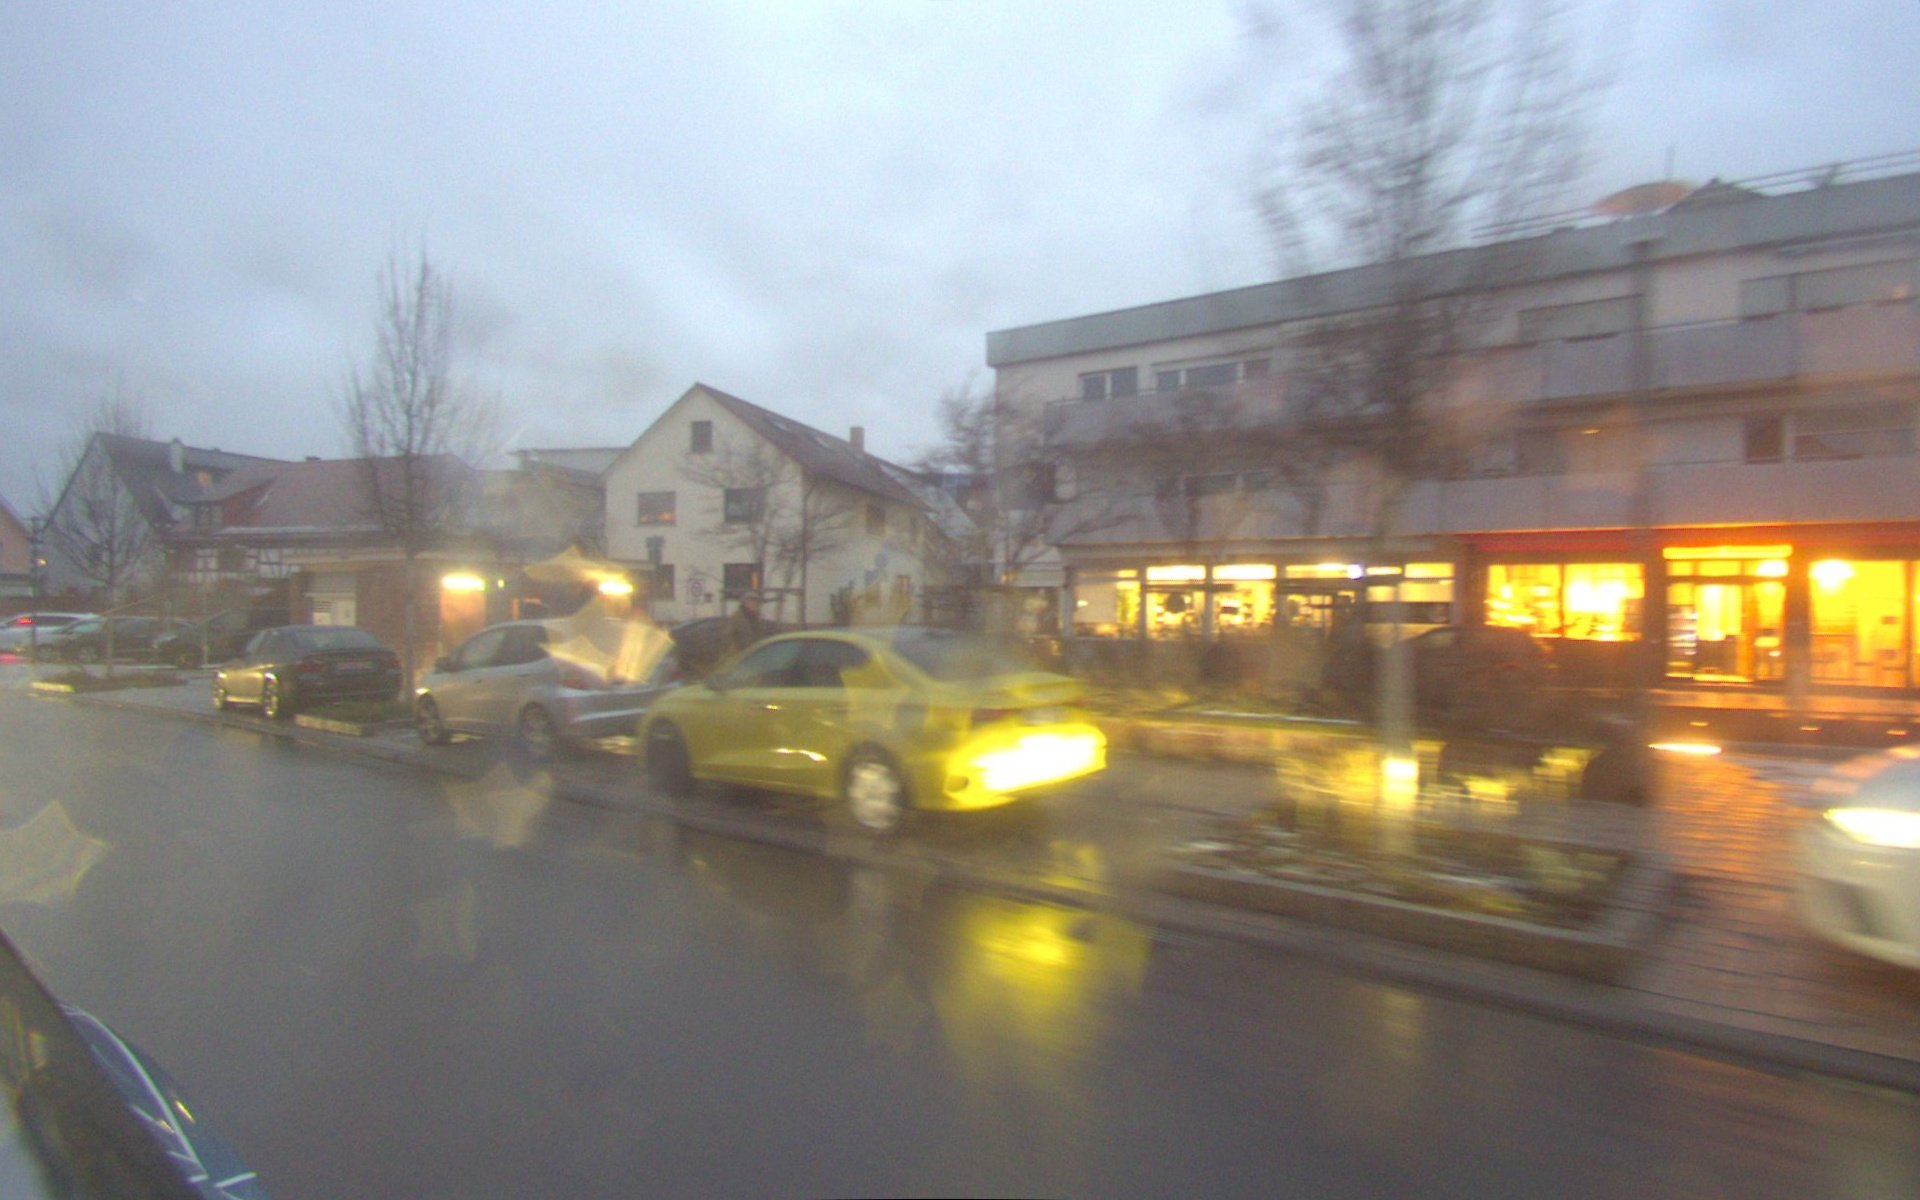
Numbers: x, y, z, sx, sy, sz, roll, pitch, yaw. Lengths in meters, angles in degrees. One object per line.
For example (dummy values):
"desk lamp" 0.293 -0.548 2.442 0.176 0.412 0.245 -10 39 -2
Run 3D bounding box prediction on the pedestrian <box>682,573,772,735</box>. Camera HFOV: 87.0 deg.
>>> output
"pedestrian" -3.054 0.686 13.266 0.889 2.029 0.792 1 -2 -40

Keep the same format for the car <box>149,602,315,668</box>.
"car" -21.753 1.011 30.394 3.934 1.776 1.437 -1 0 -35

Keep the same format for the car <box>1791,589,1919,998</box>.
"car" 5.396 0.684 3.235 4.180 1.500 1.765 -1 0 41

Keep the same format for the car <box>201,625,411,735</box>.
"car" -10.821 1.205 16.635 4.137 1.546 1.816 -1 -1 41

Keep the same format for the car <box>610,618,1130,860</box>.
"car" -0.950 0.909 8.262 4.375 1.442 1.676 -2 -1 41

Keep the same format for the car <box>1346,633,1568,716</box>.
"car" 10.434 1.504 21.333 3.989 1.576 1.977 -1 -3 34

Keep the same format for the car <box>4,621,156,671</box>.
"car" -30.834 1.572 35.635 3.936 1.559 2.004 -1 -1 -39

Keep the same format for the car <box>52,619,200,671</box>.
"car" -28.352 1.482 34.465 3.785 1.557 2.003 -1 -1 -42

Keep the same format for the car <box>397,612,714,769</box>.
"car" -4.852 0.941 11.986 3.665 1.546 1.858 -1 0 37

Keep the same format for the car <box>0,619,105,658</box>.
"car" -33.736 1.387 36.800 3.940 1.309 2.002 -1 -1 -44
